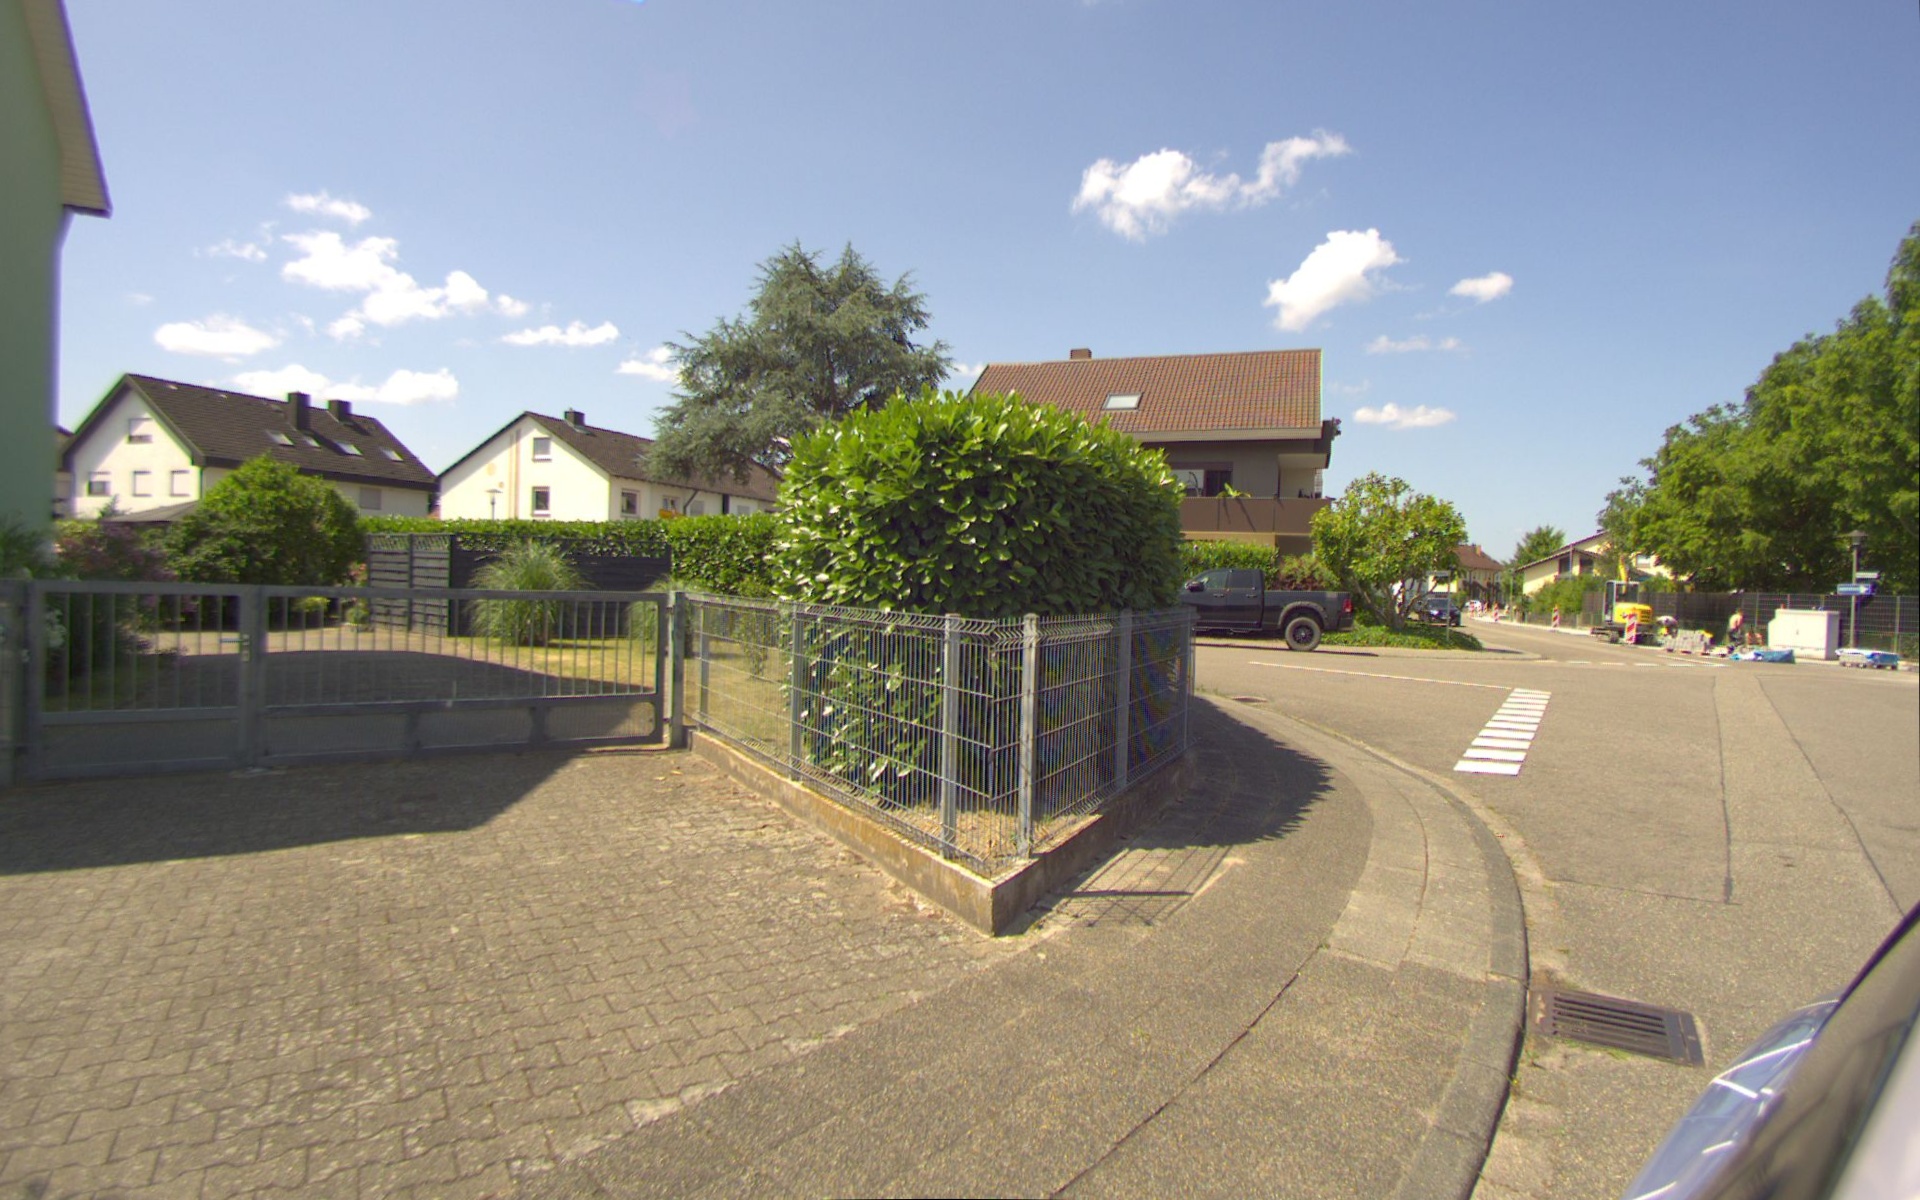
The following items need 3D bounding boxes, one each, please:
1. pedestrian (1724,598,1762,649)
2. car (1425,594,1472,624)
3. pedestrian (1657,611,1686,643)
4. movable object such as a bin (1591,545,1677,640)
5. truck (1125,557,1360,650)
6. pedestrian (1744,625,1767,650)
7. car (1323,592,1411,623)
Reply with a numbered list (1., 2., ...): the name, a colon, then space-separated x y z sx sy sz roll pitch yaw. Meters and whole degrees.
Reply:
1. pedestrian: 24.426 0.719 31.581 0.844 1.533 0.526 1 0 32
2. car: 28.147 0.496 58.369 1.895 1.561 3.976 2 1 18
3. pedestrian: 26.391 0.998 37.532 0.808 1.183 0.513 1 0 -21
4. movable object such as a bin: 27.125 -0.339 40.881 1.976 3.610 3.789 2 1 21
5. truck: 7.318 0.102 26.480 5.636 2.040 2.356 2 -5 18
6. pedestrian: 26.049 1.226 33.132 0.512 0.803 0.432 1 0 -31
7. car: 20.446 0.357 51.031 3.949 1.358 1.988 2 1 19
